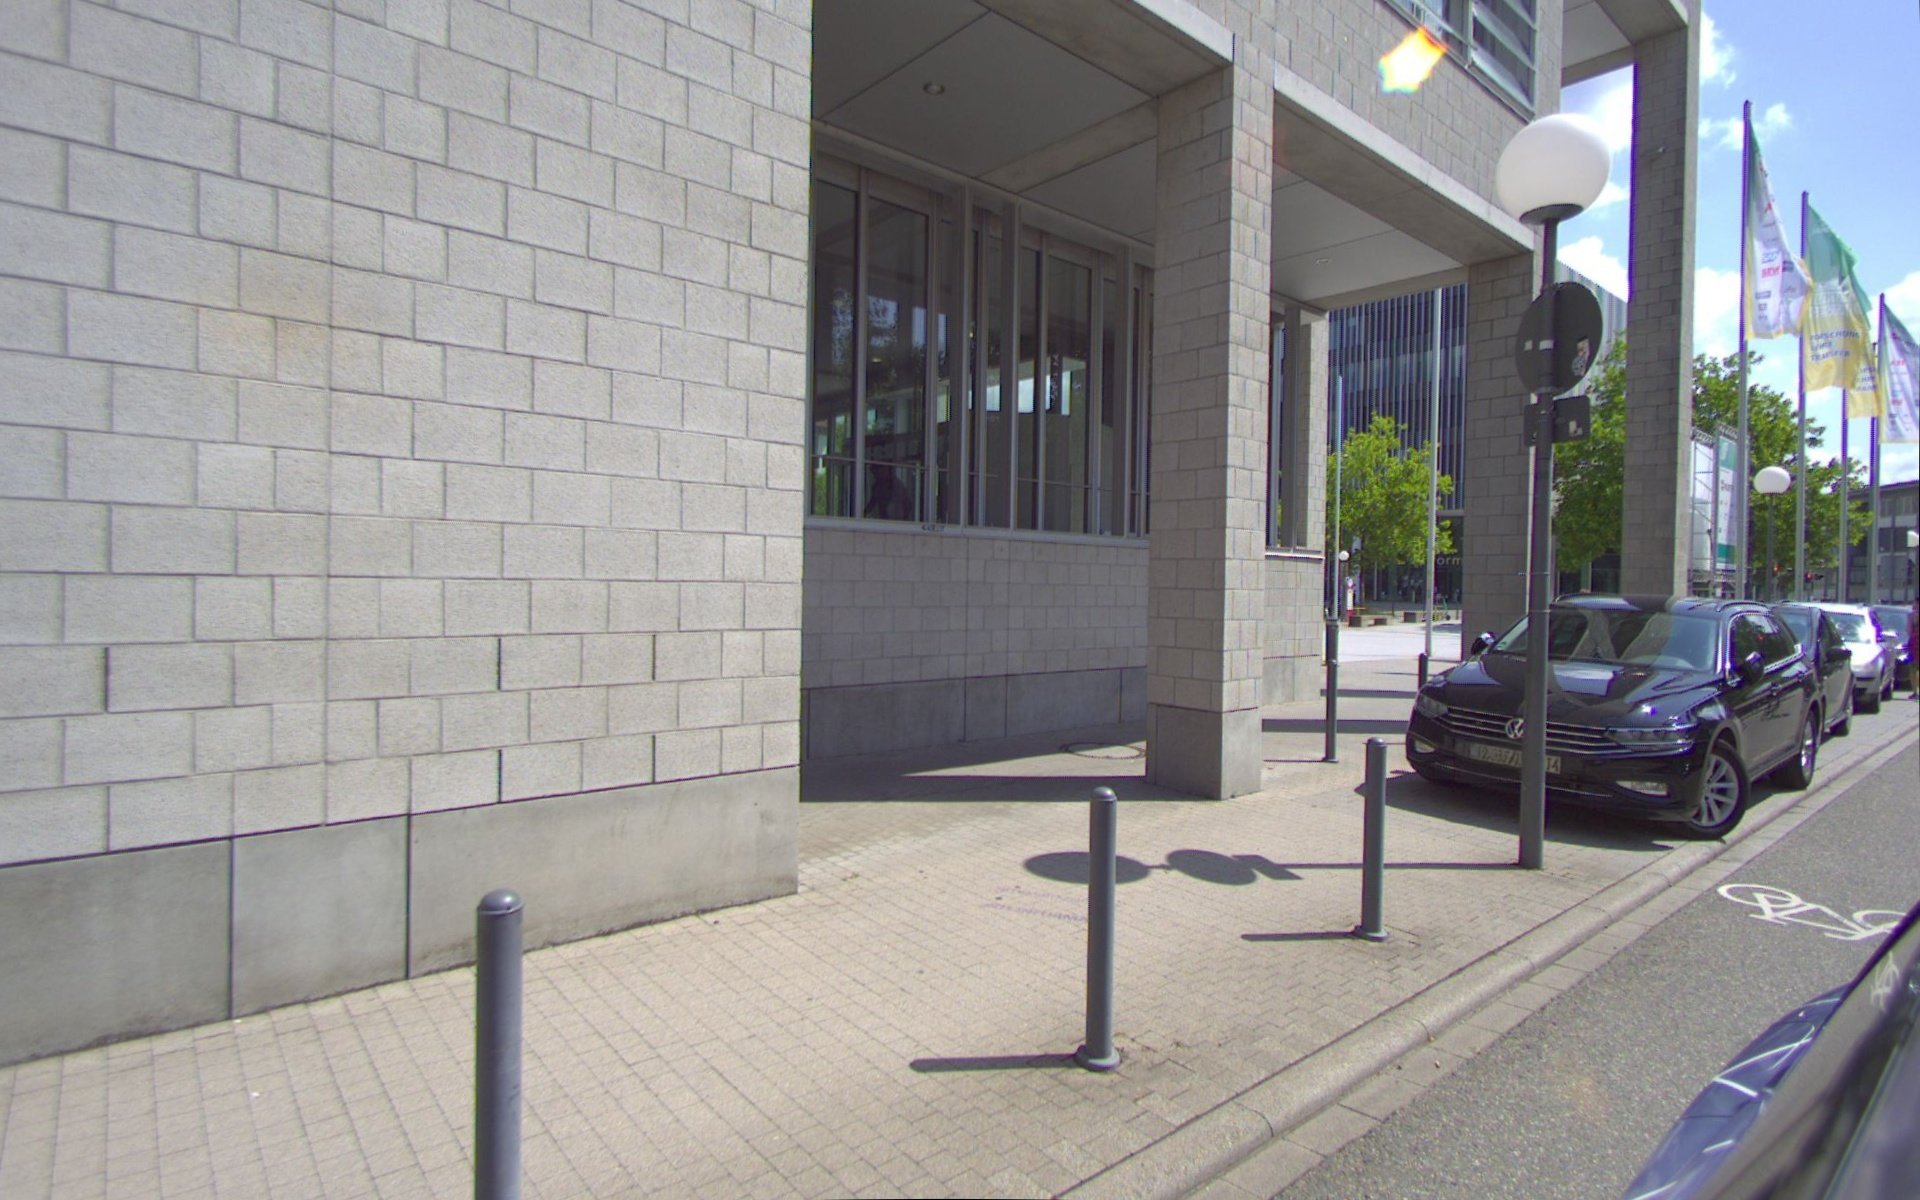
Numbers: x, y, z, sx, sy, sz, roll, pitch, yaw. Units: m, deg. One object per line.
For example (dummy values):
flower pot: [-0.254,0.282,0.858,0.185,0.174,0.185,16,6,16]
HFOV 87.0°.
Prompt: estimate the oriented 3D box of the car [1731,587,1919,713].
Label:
car: [13.188,0.633,15.309,4.491,1.548,1.721,0,3,-44]

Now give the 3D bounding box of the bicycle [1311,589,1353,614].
bicycle: [19.477,0.076,53.046,0.784,1.197,2.034,-1,2,-29]

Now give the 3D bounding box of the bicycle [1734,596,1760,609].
bicycle: [59.515,0.177,76.524,0.519,0.967,1.775,0,2,-3]

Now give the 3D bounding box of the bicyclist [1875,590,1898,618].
bicyclist: [52.795,0.221,57.656,0.778,1.557,0.652,1,1,25]

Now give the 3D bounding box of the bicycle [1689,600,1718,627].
bicycle: [33.659,0.599,45.815,0.815,1.085,1.862,4,6,43]

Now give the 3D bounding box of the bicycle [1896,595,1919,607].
bicycle: [81.547,0.092,86.788,1.753,0.967,0.525,2,3,22]

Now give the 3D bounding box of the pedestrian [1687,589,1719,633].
pedestrian: [33.585,0.502,45.748,0.854,1.842,1.157,6,1,44]

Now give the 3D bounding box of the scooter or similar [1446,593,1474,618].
scooter or similar: [24.068,0.253,48.739,0.347,1.179,1.191,-2,3,-40]

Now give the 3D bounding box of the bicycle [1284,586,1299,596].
bicycle: [31.670,-0.864,96.596,1.515,0.967,0.374,-1,2,-26]

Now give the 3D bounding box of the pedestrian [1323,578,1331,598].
pedestrian: [34.878,-1.175,96.207,0.552,1.864,0.554,1,2,42]

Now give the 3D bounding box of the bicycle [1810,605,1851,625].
bicycle: [50.494,0.870,58.734,1.651,1.138,0.690,1,1,22]

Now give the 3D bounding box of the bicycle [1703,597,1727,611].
bicycle: [57.061,0.283,76.487,0.519,0.967,1.772,1,2,3]

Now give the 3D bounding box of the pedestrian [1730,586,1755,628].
pedestrian: [34.704,0.293,44.882,0.598,1.823,0.597,2,-1,-16]

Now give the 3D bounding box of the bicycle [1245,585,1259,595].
bicycle: [28.826,-0.977,99.926,1.515,0.967,0.374,-1,2,-26]

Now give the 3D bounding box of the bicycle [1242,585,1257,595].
bicycle: [28.709,-0.978,100.338,1.515,0.967,0.374,-1,2,-26]

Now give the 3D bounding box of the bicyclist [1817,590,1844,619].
bicyclist: [50.498,0.257,58.720,0.987,1.635,0.653,1,1,21]

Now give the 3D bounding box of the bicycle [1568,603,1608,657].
bicycle: [14.148,0.657,22.829,0.602,1.152,1.572,2,0,27]

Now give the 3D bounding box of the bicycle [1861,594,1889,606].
bicycle: [82.689,0.011,91.502,1.753,0.967,0.525,2,3,22]

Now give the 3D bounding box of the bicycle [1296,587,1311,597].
bicycle: [32.543,-0.761,95.846,1.515,0.967,0.374,-1,2,-26]

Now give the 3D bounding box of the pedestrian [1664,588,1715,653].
pedestrian: [20.553,0.551,28.516,0.984,1.761,0.919,0,1,-41]

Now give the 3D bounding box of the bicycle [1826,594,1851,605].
bicycle: [84.304,-0.057,97.114,1.753,0.967,0.525,2,3,22]

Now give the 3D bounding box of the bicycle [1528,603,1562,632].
bicycle: [24.286,0.724,41.992,1.662,1.152,0.681,2,0,-41]

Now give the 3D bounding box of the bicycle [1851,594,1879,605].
bicycle: [83.200,-0.041,93.038,1.753,0.967,0.525,2,3,22]

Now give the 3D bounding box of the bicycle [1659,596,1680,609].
bicycle: [54.476,0.189,77.743,0.520,0.967,1.771,-2,2,6]

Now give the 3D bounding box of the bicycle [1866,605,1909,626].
bicycle: [52.804,0.896,57.655,1.654,1.138,0.689,1,1,25]

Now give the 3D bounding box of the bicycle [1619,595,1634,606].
bicycle: [51.562,0.053,78.295,0.522,0.773,1.764,1,2,17]

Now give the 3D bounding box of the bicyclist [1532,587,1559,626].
bicyclist: [24.260,0.259,41.960,0.864,1.589,0.681,2,0,-41]

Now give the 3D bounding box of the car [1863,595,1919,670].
car: [21.604,0.713,22.519,4.073,1.515,1.618,0,3,-40]

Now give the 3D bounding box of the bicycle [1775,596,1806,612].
bicycle: [56.227,0.273,68.551,0.519,0.967,1.775,0,2,-3]

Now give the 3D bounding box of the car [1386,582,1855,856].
car: [5.224,0.639,7.733,4.441,1.483,1.869,0,1,-41]

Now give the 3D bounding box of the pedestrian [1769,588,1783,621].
pedestrian: [46.902,0.237,58.157,0.572,1.864,0.410,1,2,37]

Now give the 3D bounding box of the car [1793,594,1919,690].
car: [17.064,0.698,18.847,3.930,1.548,1.723,0,2,-41]

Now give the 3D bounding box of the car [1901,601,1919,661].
car: [25.265,0.790,25.529,4.361,1.417,1.722,0,4,-41]

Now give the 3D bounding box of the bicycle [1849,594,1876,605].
bicycle: [83.354,-0.023,93.491,1.753,0.967,0.525,2,3,22]

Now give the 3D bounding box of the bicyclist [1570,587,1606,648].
bicyclist: [14.168,0.389,22.842,0.602,1.337,0.735,2,0,28]

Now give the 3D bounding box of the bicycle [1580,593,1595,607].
bicycle: [49.157,-0.002,79.253,0.367,0.967,1.768,1,2,10]

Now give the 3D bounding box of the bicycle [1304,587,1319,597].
bicycle: [32.981,-0.764,95.054,1.515,0.967,0.374,-1,2,-26]

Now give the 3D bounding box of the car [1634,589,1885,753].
car: [9.136,0.652,11.451,3.938,1.515,1.616,0,1,-42]
